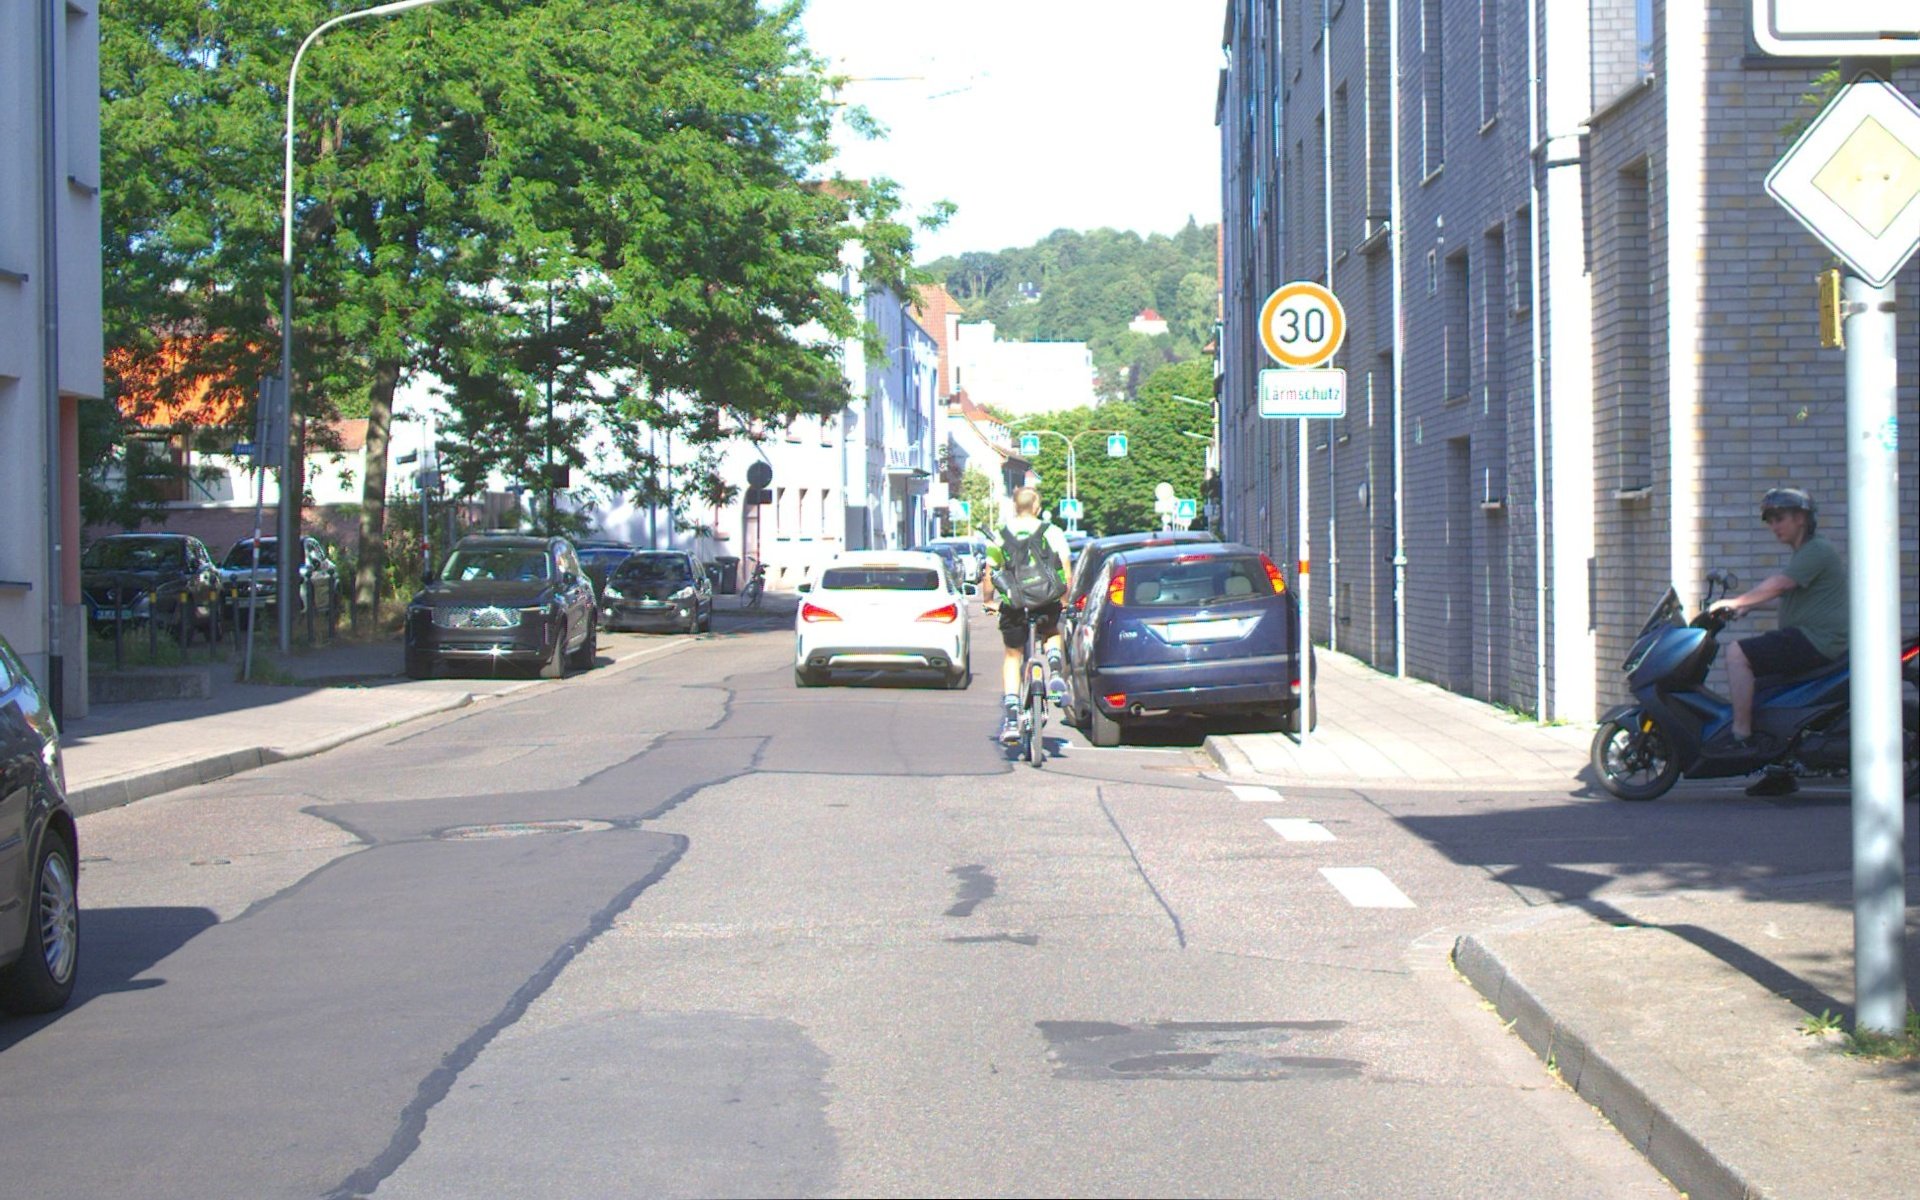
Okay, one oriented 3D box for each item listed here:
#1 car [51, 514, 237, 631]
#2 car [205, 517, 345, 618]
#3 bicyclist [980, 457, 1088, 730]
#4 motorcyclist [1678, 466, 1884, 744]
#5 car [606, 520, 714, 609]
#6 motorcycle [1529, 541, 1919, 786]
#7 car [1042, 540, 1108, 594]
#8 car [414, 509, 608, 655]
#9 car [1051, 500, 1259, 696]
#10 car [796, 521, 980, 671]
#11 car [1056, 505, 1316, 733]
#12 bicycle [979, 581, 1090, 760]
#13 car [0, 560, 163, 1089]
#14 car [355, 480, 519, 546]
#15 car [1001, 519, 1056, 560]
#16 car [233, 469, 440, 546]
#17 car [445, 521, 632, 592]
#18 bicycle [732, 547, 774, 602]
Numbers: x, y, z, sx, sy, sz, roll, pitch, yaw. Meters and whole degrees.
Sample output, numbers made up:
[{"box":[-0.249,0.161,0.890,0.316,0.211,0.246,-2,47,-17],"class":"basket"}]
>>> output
[{"box":[-11.831,-0.440,50.124,1.857,1.581,4.622,2,1,-4],"class":"car"},{"box":[-12.152,-0.601,61.192,1.789,1.684,3.965,2,1,-2],"class":"car"},{"box":[0.485,-0.047,23.056,0.698,1.784,1.041,0,0,0],"class":"bicyclist"},{"box":[4.471,0.020,18.701,0.878,1.467,0.894,0,0,29],"class":"motorcyclist"},{"box":[-5.454,-0.672,62.811,1.704,1.570,3.914,0,1,-1],"class":"car"},{"box":[4.387,0.352,18.750,2.338,1.276,0.894,-2,-1,29],"class":"motorcycle"},{"box":[3.870,-1.139,116.225,1.853,1.785,4.608,0,1,-3],"class":"car"},{"box":[-5.729,-0.269,44.338,1.853,1.785,4.607,0,1,1],"class":"car"},{"box":[1.747,-0.058,31.849,1.664,1.696,3.914,0,1,0],"class":"car"},{"box":[-0.787,-0.060,36.431,1.842,1.486,4.144,0,1,-2],"class":"car"},{"box":[1.712,0.111,27.213,1.629,1.581,4.070,-3,1,-1],"class":"car"},{"box":[0.483,0.439,23.074,0.698,1.126,2.403,0,1,0],"class":"bicycle"},{"box":[-3.645,0.670,9.578,1.842,1.486,4.144,-3,1,0],"class":"car"},{"box":[-12.654,-2.096,83.312,3.900,1.570,1.710,0,1,-8],"class":"car"},{"box":[2.876,-2.534,143.382,1.945,1.581,4.621,-3,1,5],"class":"car"},{"box":[-12.917,-1.917,71.329,3.901,1.570,1.709,0,1,5],"class":"car"},{"box":[-9.377,-0.980,76.662,3.901,1.570,1.710,0,1,2],"class":"car"},{"box":[-4.674,-0.594,77.774,0.835,1.213,2.842,0,1,-1],"class":"bicycle"}]
